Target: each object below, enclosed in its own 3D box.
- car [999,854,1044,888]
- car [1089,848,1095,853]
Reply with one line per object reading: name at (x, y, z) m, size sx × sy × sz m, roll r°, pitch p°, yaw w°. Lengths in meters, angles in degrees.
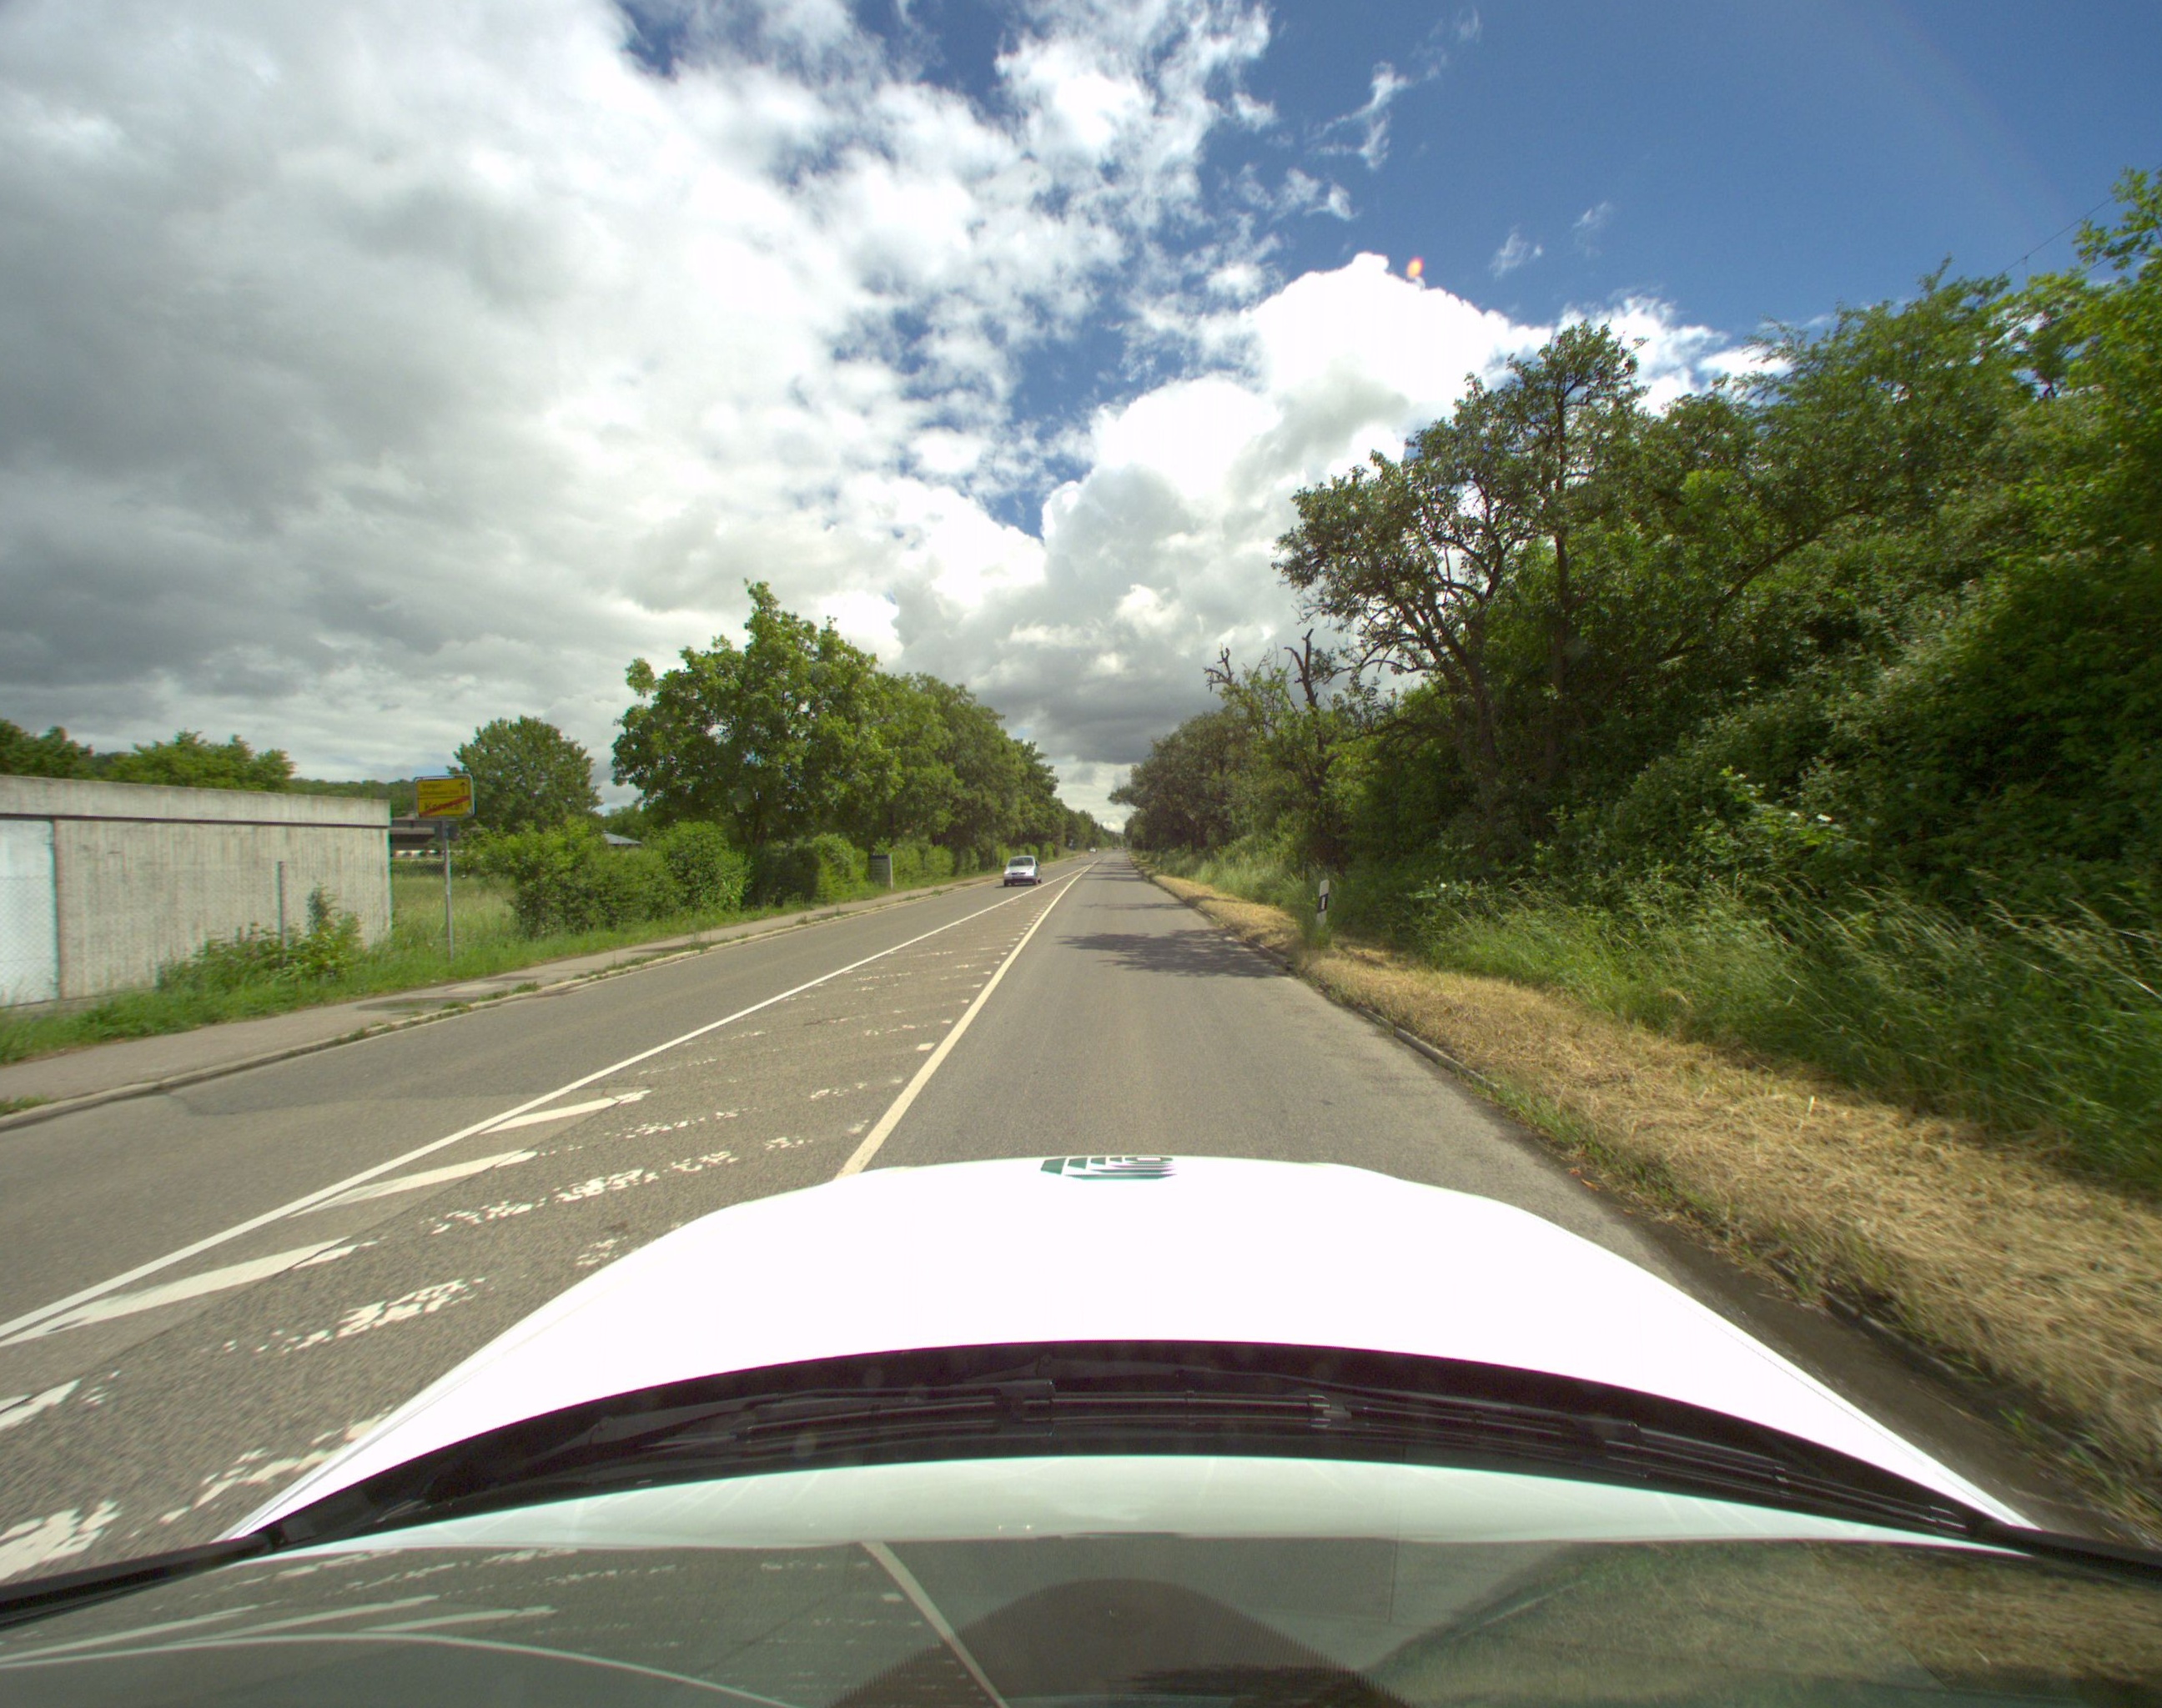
car at (-2.877, 0.794, 40.021) m, size 1.654 × 1.432 × 3.696 m, roll -3°, pitch 1°, yaw 3°
car at (3.319, -0.994, 242.589) m, size 1.790 × 1.543 × 3.958 m, roll -2°, pitch -1°, yaw 3°
